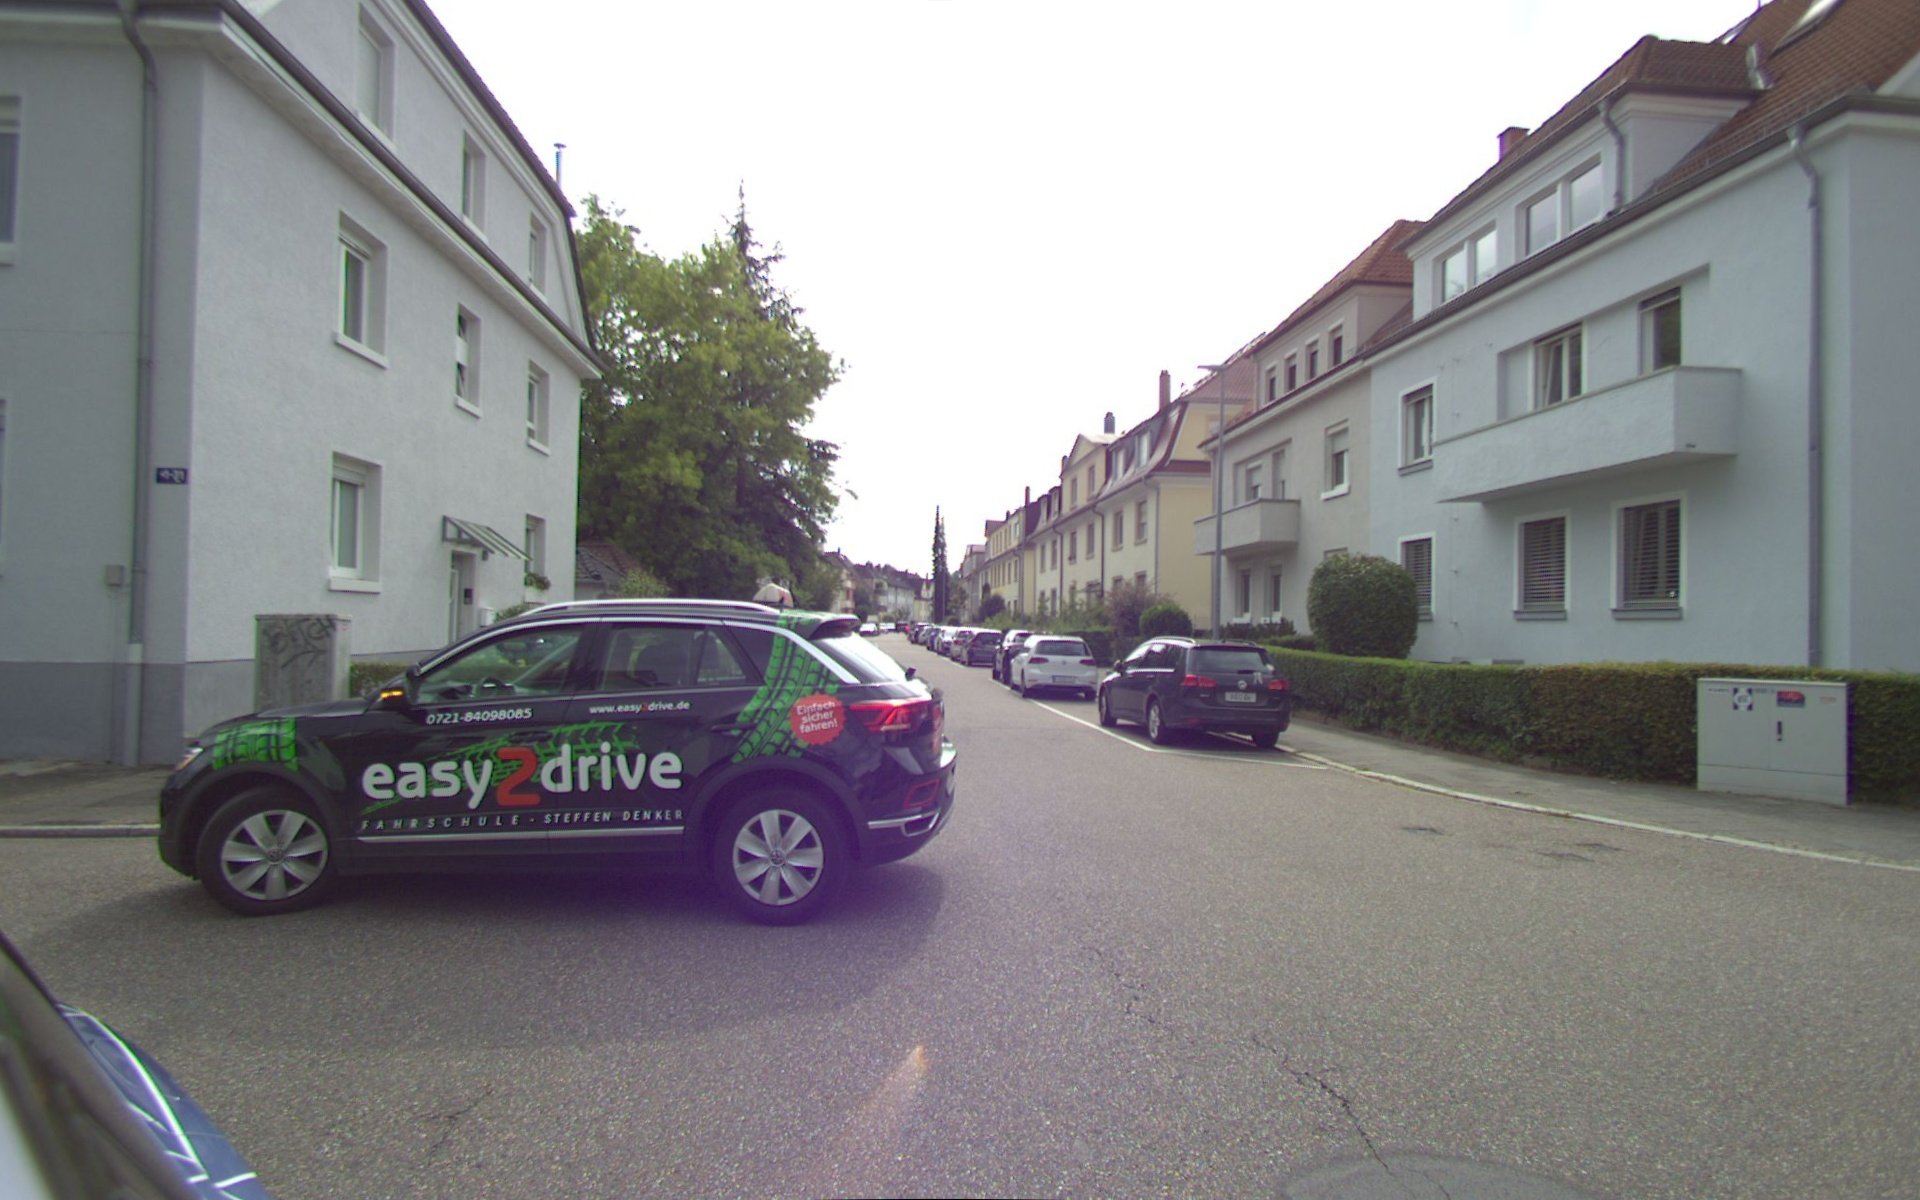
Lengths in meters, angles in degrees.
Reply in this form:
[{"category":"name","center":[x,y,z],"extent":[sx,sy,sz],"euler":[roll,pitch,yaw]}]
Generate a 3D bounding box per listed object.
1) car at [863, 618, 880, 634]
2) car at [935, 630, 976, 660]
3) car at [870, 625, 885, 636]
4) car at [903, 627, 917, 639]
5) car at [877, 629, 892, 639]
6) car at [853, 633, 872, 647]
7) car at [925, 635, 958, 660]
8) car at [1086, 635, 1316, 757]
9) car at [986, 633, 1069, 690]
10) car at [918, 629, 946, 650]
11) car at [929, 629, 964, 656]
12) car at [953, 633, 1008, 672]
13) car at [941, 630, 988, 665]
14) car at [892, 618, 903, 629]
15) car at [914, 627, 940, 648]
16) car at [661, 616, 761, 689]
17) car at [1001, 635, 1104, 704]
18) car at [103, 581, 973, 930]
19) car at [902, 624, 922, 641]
[{"category":"car","center":[-11.501,3.420,131.766],"extent":[1.970,2.029,4.002],"euler":[1,-2,-3]},{"category":"car","center":[-0.272,2.291,52.207],"extent":[1.832,1.483,4.178],"euler":[1,-2,-4]},{"category":"car","center":[-12.157,4.501,148.860],"extent":[1.971,1.652,4.001],"euler":[1,-2,-2]},{"category":"car","center":[-6.995,4.600,141.061],"extent":[1.832,1.590,4.178],"euler":[1,-2,-4]},{"category":"car","center":[-12.167,5.418,162.964],"extent":[1.974,1.548,3.995],"euler":[-1,-1,4]},{"category":"car","center":[-11.486,4.730,119.874],"extent":[1.971,1.652,4.001],"euler":[1,-2,-2]},{"category":"car","center":[-1.160,2.938,63.090],"extent":[1.832,1.483,4.178],"euler":[1,-2,-4]},{"category":"car","center":[3.305,1.287,14.814],"extent":[1.830,1.483,4.182],"euler":[1,-2,-8]},{"category":"car","center":[1.879,1.724,29.398],"extent":[1.832,1.483,4.178],"euler":[1,-2,-4]},{"category":"car","center":[-2.120,2.934,75.611],"extent":[1.832,1.483,4.178],"euler":[1,-2,-4]},{"category":"car","center":[-0.822,2.454,58.781],"extent":[1.832,1.483,4.178],"euler":[1,-2,-4]},{"category":"car","center":[0.790,2.105,41.282],"extent":[1.832,1.483,4.178],"euler":[1,-2,-4]},{"category":"car","center":[0.167,2.151,46.528],"extent":[1.832,1.483,4.178],"euler":[1,-2,-4]},{"category":"car","center":[-12.756,4.778,206.363],"extent":[1.971,2.140,4.001],"euler":[1,-2,-2]},{"category":"car","center":[-2.655,2.945,80.786],"extent":[1.832,1.590,4.178],"euler":[1,-2,-4]},{"category":"car","center":[-6.787,1.401,27.982],"extent":[1.970,1.852,4.003],"euler":[1,-2,-3]},{"category":"car","center":[2.151,1.624,24.599],"extent":[1.832,1.483,4.178],"euler":[1,-2,-4]},{"category":"car","center":[-1.968,0.734,5.522],"extent":[3.991,1.531,1.819],"euler":[0,-3,4]},{"category":"car","center":[-4.761,3.215,100.032],"extent":[1.831,1.590,4.180],"euler":[1,-2,-5]}]
